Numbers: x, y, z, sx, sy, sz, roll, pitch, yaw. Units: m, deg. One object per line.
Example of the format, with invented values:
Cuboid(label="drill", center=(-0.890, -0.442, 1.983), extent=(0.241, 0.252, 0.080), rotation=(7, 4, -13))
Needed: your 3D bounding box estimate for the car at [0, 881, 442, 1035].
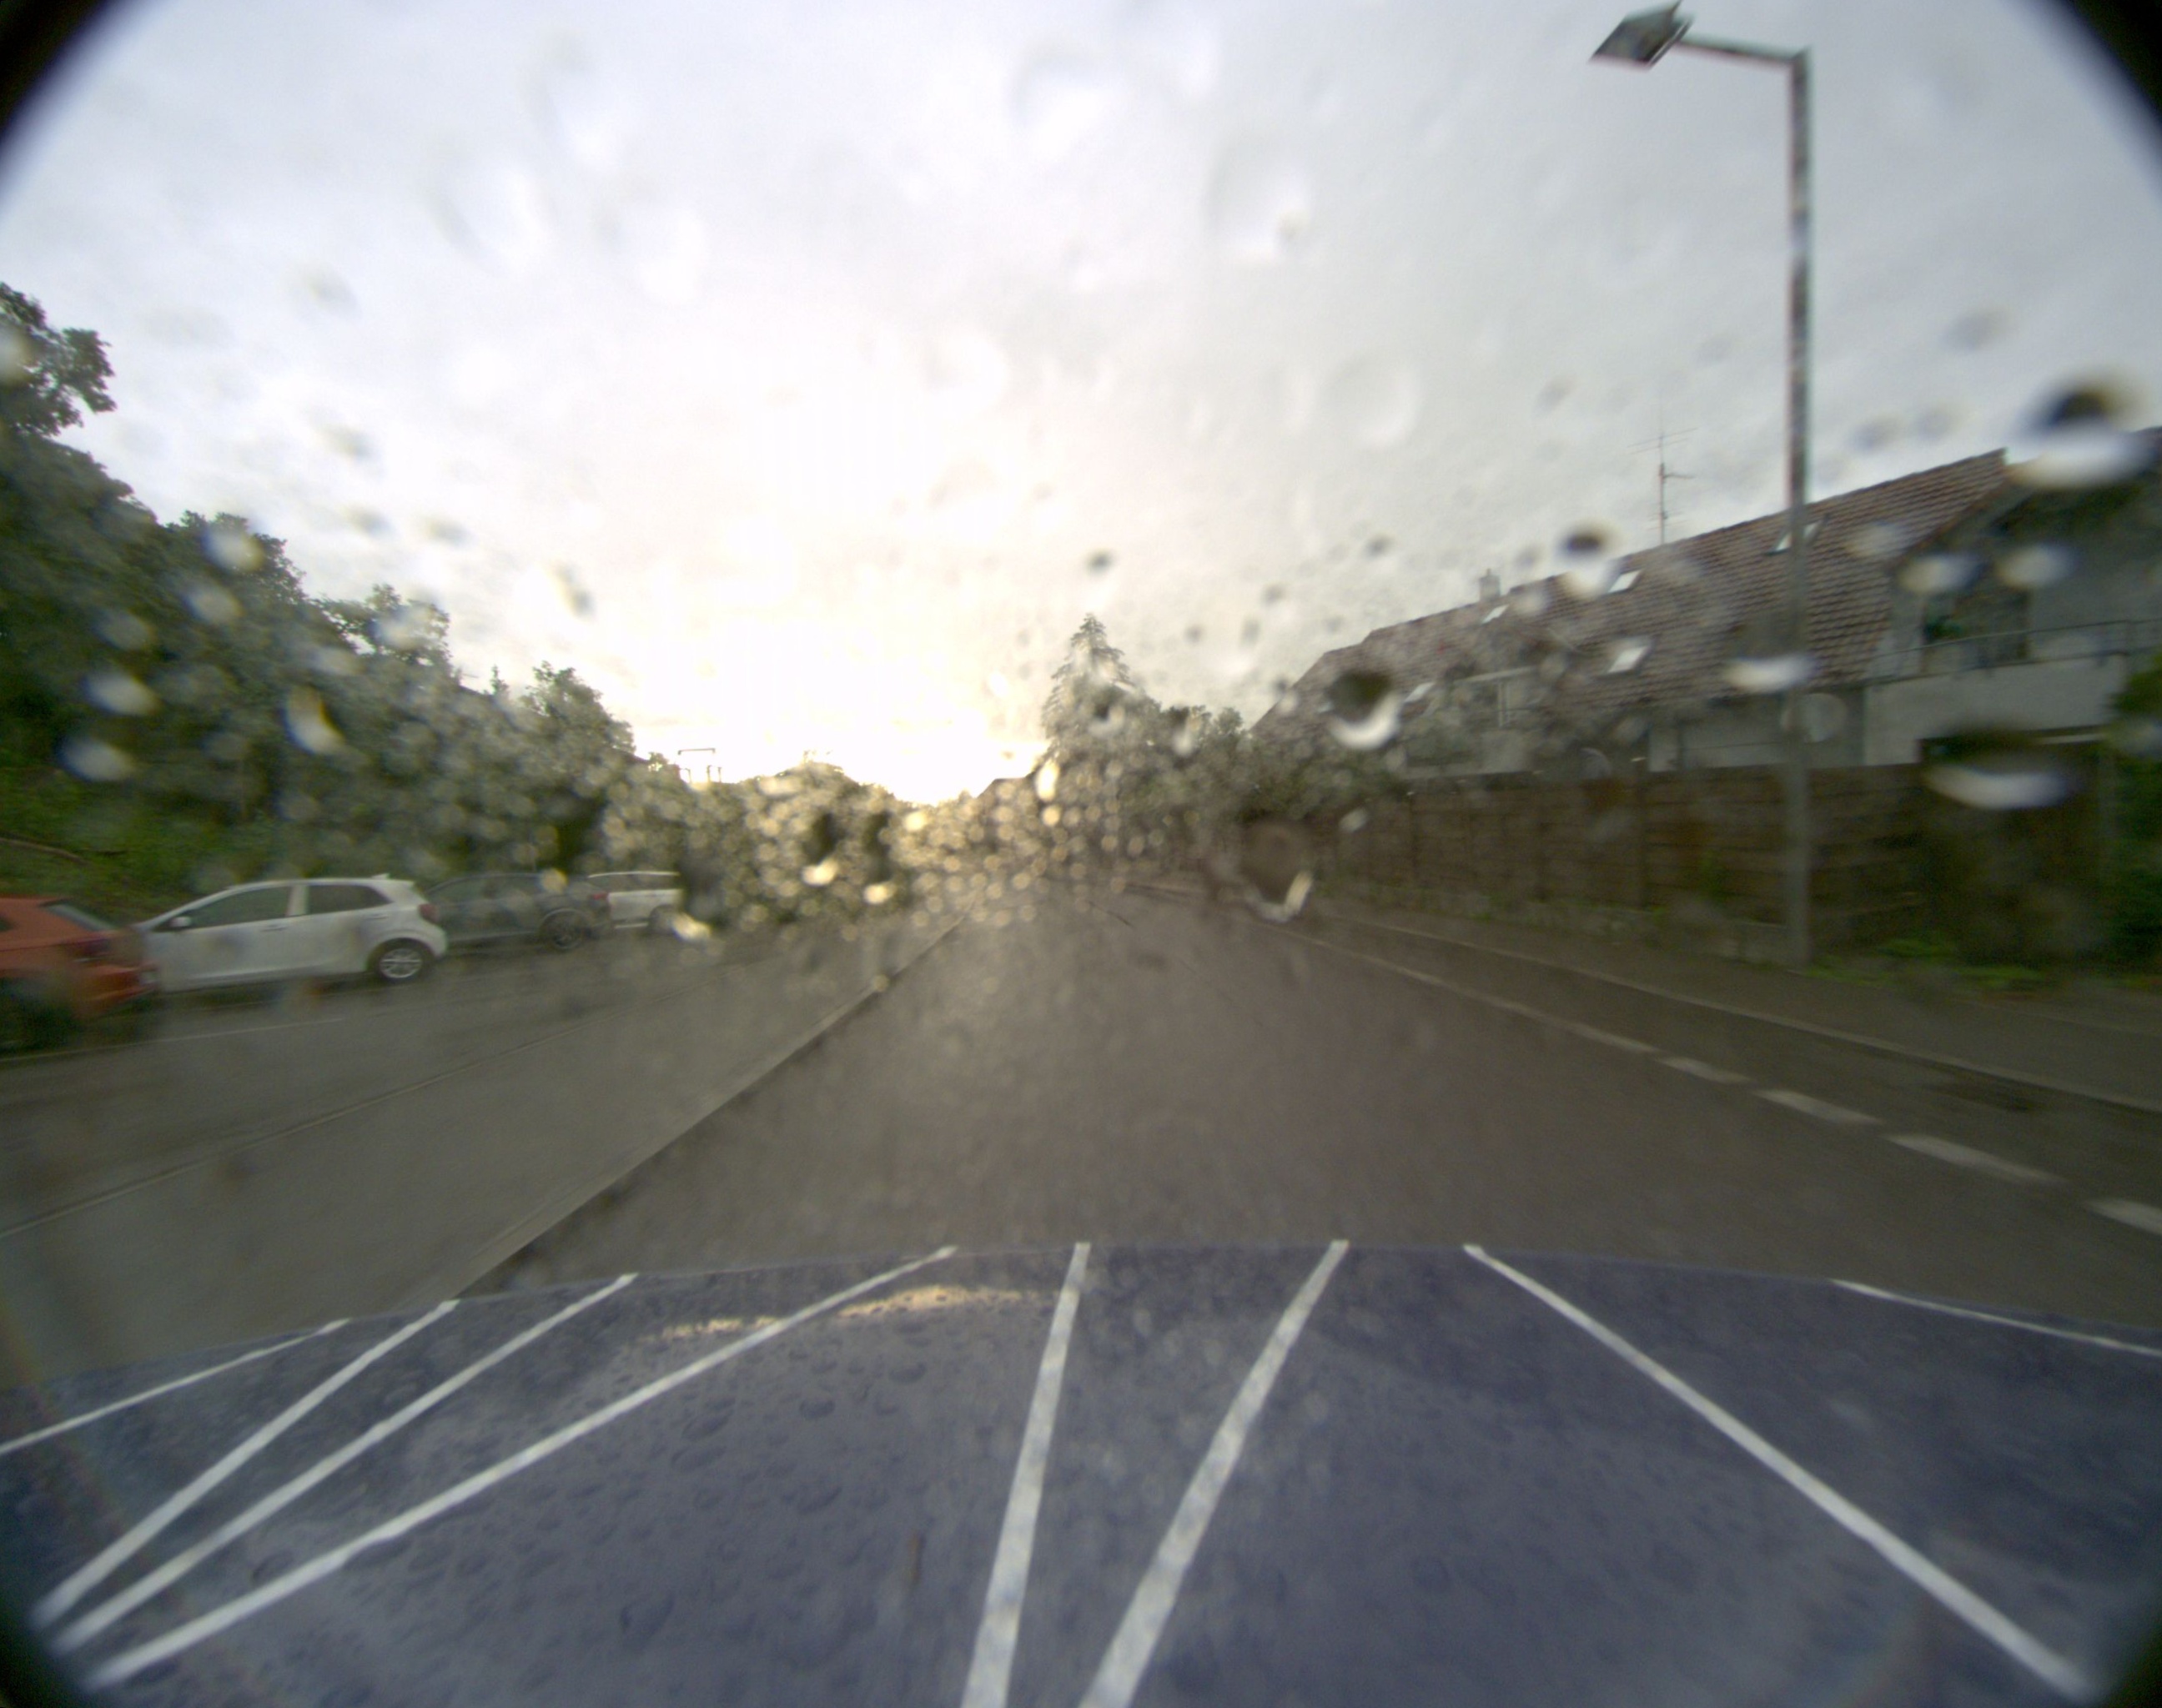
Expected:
Cuboid(label="car", center=(-10.868, 1.164, 9.813), extent=(1.747, 1.471, 3.803), rotation=(-1, 0, 44))

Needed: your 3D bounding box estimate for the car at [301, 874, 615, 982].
Cuboid(label="car", center=(-10.901, 1.190, 13.607), extent=(4.099, 1.498, 1.747), rotation=(-1, 0, -40))

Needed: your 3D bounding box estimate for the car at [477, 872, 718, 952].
Cuboid(label="car", center=(-10.662, 1.199, 17.079), extent=(4.322, 1.455, 1.808), rotation=(-1, 0, -32))

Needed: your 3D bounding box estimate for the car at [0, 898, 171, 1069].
Cuboid(label="car", center=(-10.870, 1.225, 6.420), extent=(3.802, 1.393, 1.713), rotation=(-2, 1, -41))
